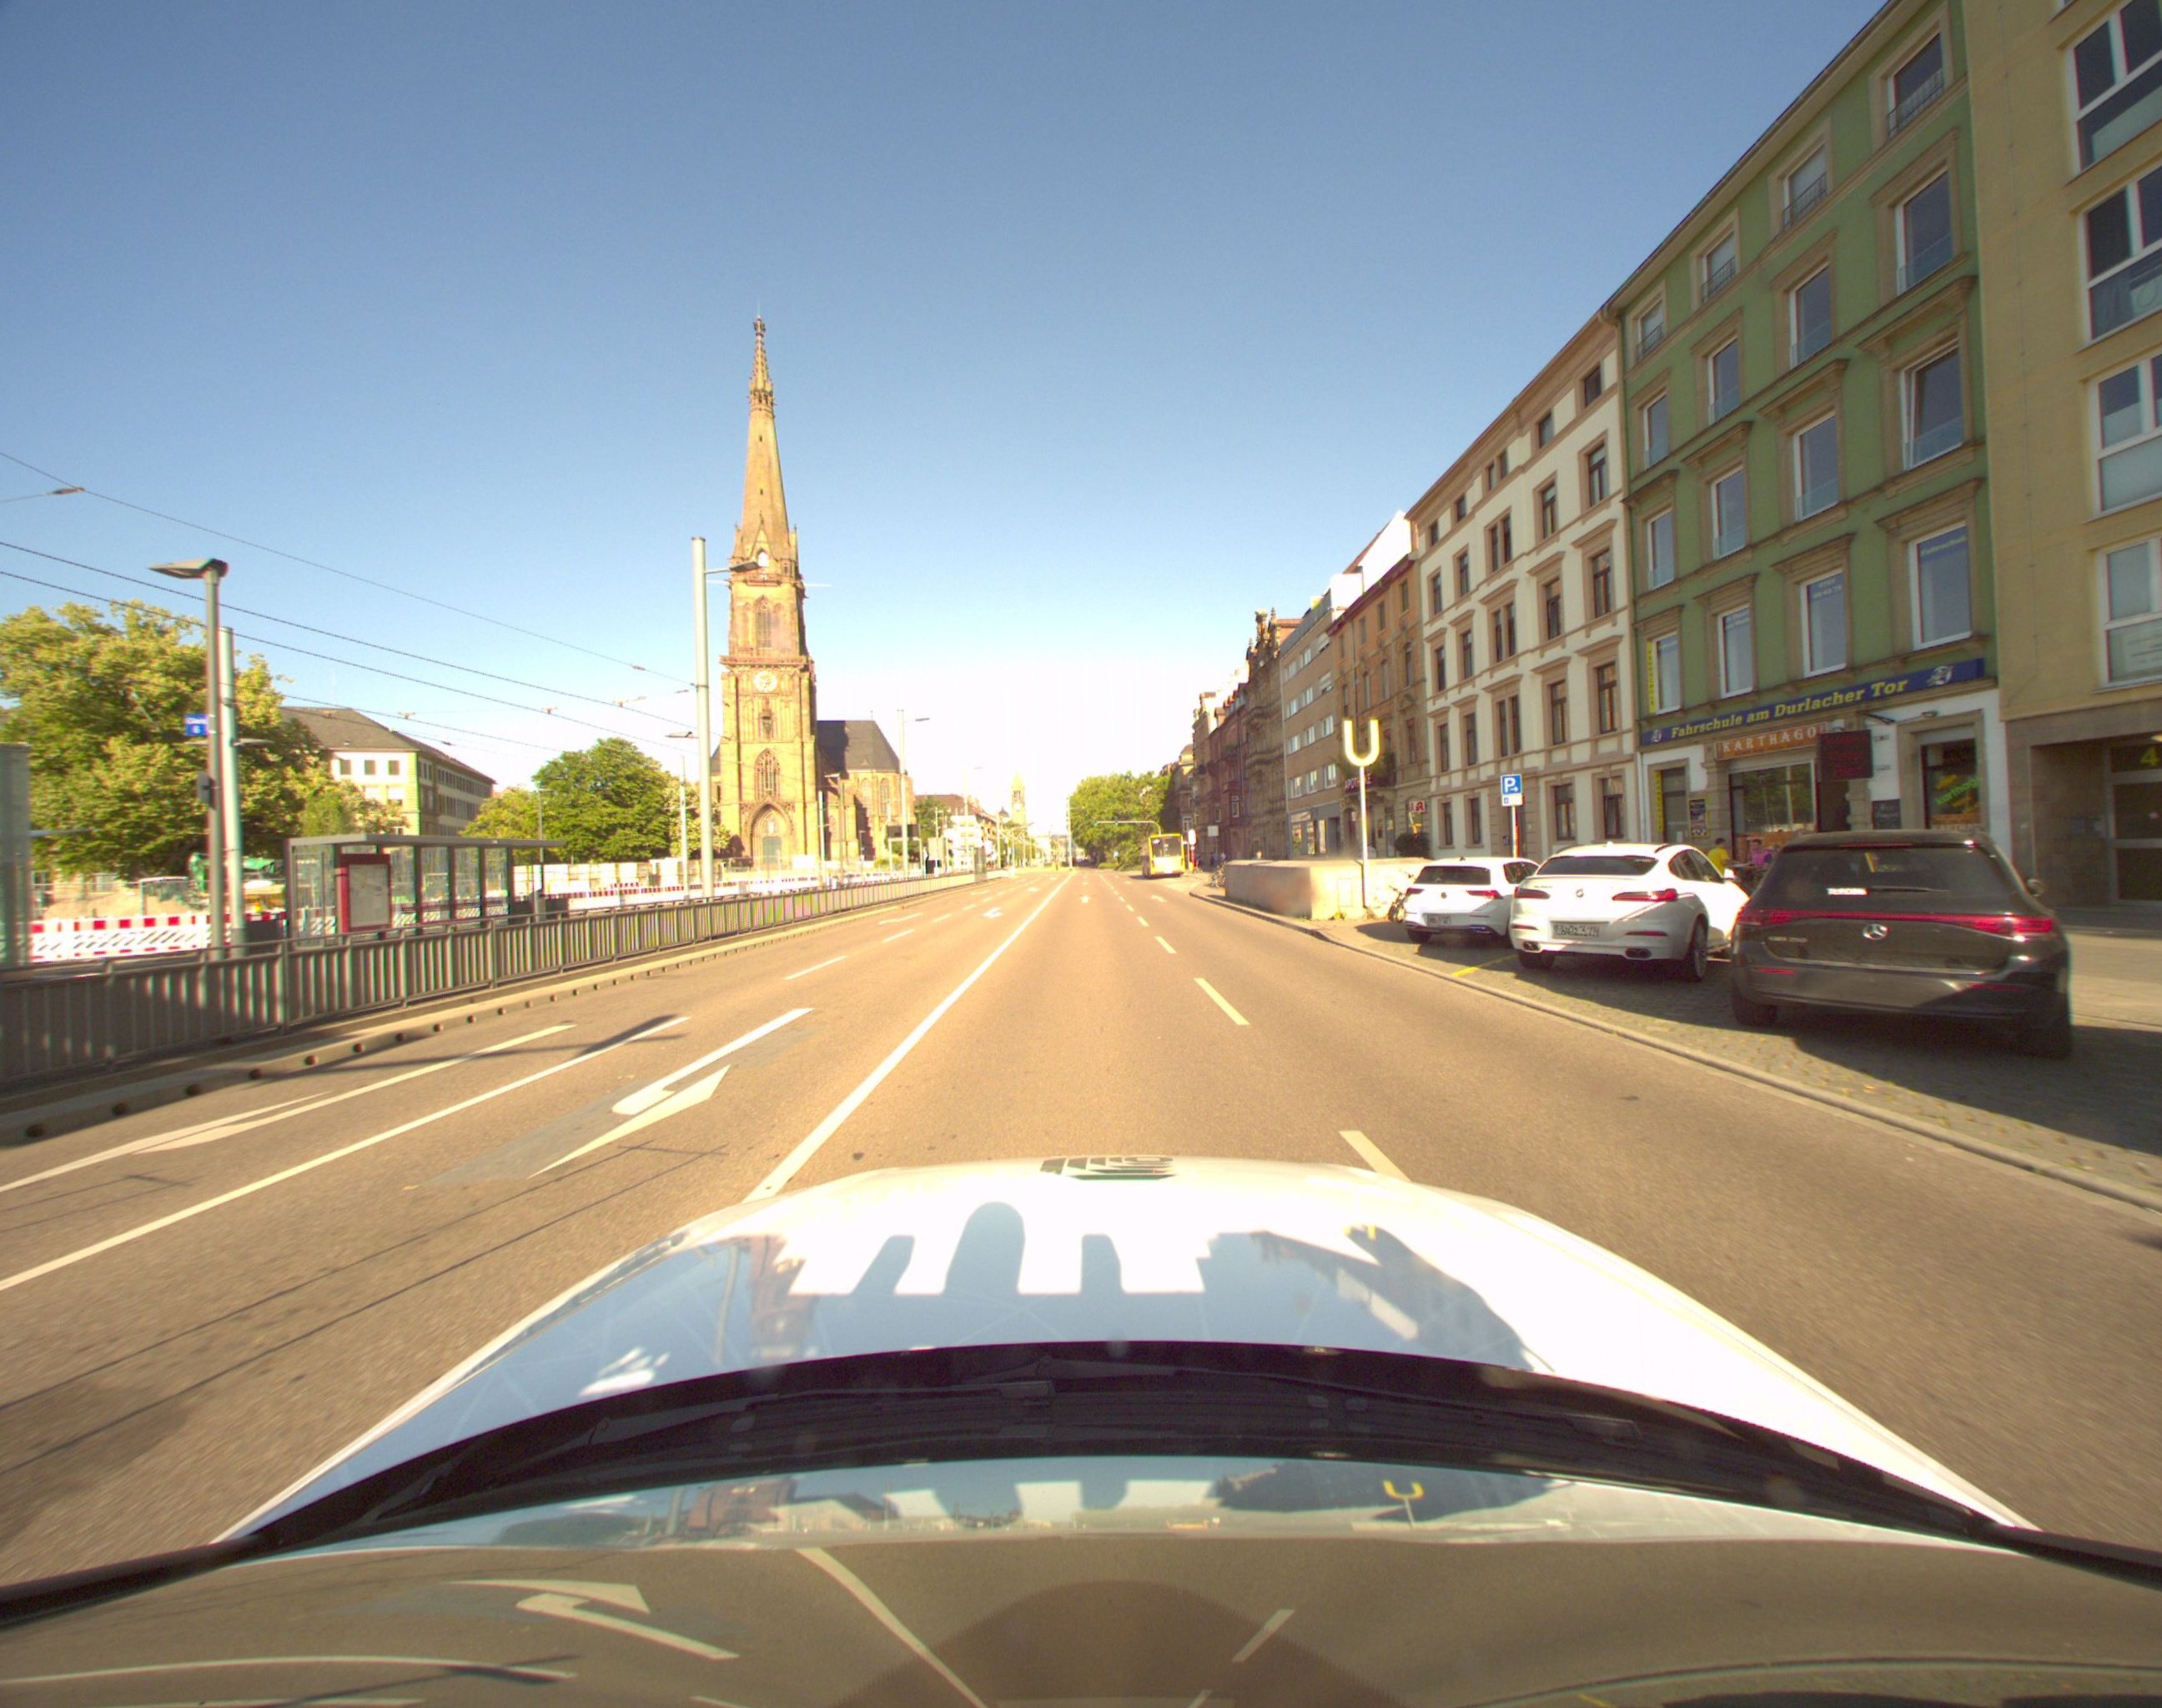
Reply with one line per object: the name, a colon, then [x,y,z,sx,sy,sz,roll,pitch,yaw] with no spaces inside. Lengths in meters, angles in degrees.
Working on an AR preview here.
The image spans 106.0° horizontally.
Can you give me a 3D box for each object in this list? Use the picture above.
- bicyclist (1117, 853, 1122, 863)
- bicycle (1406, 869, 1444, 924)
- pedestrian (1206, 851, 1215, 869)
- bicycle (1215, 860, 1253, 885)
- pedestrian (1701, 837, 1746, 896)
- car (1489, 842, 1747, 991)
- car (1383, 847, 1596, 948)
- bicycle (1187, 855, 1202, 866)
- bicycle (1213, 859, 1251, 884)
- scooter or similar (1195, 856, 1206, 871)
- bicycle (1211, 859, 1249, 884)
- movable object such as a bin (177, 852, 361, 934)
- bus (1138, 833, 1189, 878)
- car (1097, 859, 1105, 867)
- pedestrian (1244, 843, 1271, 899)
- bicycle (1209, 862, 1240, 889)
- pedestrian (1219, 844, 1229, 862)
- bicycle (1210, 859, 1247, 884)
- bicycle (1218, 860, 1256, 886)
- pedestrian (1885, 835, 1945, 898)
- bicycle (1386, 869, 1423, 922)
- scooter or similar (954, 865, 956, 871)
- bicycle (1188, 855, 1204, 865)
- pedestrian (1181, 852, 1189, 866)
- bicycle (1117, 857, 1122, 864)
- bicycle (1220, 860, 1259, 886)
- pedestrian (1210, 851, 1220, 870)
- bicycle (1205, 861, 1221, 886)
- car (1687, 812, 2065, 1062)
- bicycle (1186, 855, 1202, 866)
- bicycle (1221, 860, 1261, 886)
bicyclist: [6.974,0.765,147.888,0.639,1.815,1.052,-3,-2,-1]
bicycle: [7.412,0.892,17.533,0.414,1.110,1.102,0,0,41]
pedestrian: [14.433,0.635,90.787,0.819,1.930,1.136,-3,-1,0]
bicycle: [7.484,0.893,39.827,1.759,1.187,0.470,-2,0,-1]
pedestrian: [14.856,0.294,18.847,0.514,1.319,0.590,-2,-1,-7]
car: [7.218,0.646,10.761,4.275,1.570,1.936,-1,0,-44]
car: [7.316,0.674,14.425,4.135,1.464,1.938,-2,-1,-42]
bicycle: [15.001,0.862,107.816,1.885,1.239,0.488,-3,-2,-13]
bicycle: [7.466,0.871,40.325,1.759,1.187,0.470,-2,0,-1]
scooter or similar: [10.114,0.791,69.033,0.431,1.249,1.290,-4,-1,-9]
bicycle: [7.471,0.894,40.823,1.786,1.187,0.470,-2,0,-1]
movable object such as a bin: [-30.124,1.326,30.546,2.634,2.525,5.139,-4,2,-18]
bus: [6.468,0.141,65.780,2.706,3.181,12.540,-3,0,0]
car: [4.247,1.872,171.769,1.638,1.511,4.183,-3,0,1]
pedestrian: [6.633,0.626,30.622,0.748,2.013,0.698,-3,2,0]
bicycle: [6.413,0.948,36.537,0.470,1.147,1.757,-2,0,-23]
pedestrian: [15.506,-0.107,88.597,0.819,1.930,1.136,-3,-1,0]
bicycle: [7.468,0.879,41.326,1.759,1.187,0.470,-2,0,-1]
bicycle: [7.530,0.899,39.325,1.759,1.187,0.470,-2,0,-1]
pedestrian: [15.898,0.238,15.530,0.512,1.160,0.593,-2,-1,7]
bicycle: [7.080,0.891,17.819,0.414,1.110,1.102,0,0,41]
scooter or similar: [-29.338,3.275,189.618,0.400,1.261,1.231,-3,2,1]
bicycle: [15.091,0.799,106.663,1.885,1.239,0.488,-3,-2,-13]
pedestrian: [12.865,0.639,100.647,0.700,1.656,1.136,-3,-1,0]
bicycle: [6.989,1.171,147.888,0.639,1.048,2.359,-3,-1,0]
bicycle: [7.532,0.903,38.805,1.759,1.187,0.470,-2,0,-1]
pedestrian: [14.592,0.709,88.553,0.819,1.930,1.136,-3,-1,0]
bicycle: [6.335,0.934,39.241,0.467,1.147,1.771,-2,0,0]
car: [7.150,0.521,7.379,4.275,1.598,1.936,-1,0,-43]
bicycle: [14.883,0.848,107.198,1.885,1.239,0.488,-3,-2,-13]
bicycle: [7.527,0.890,38.298,1.759,1.187,0.470,-2,0,-1]
